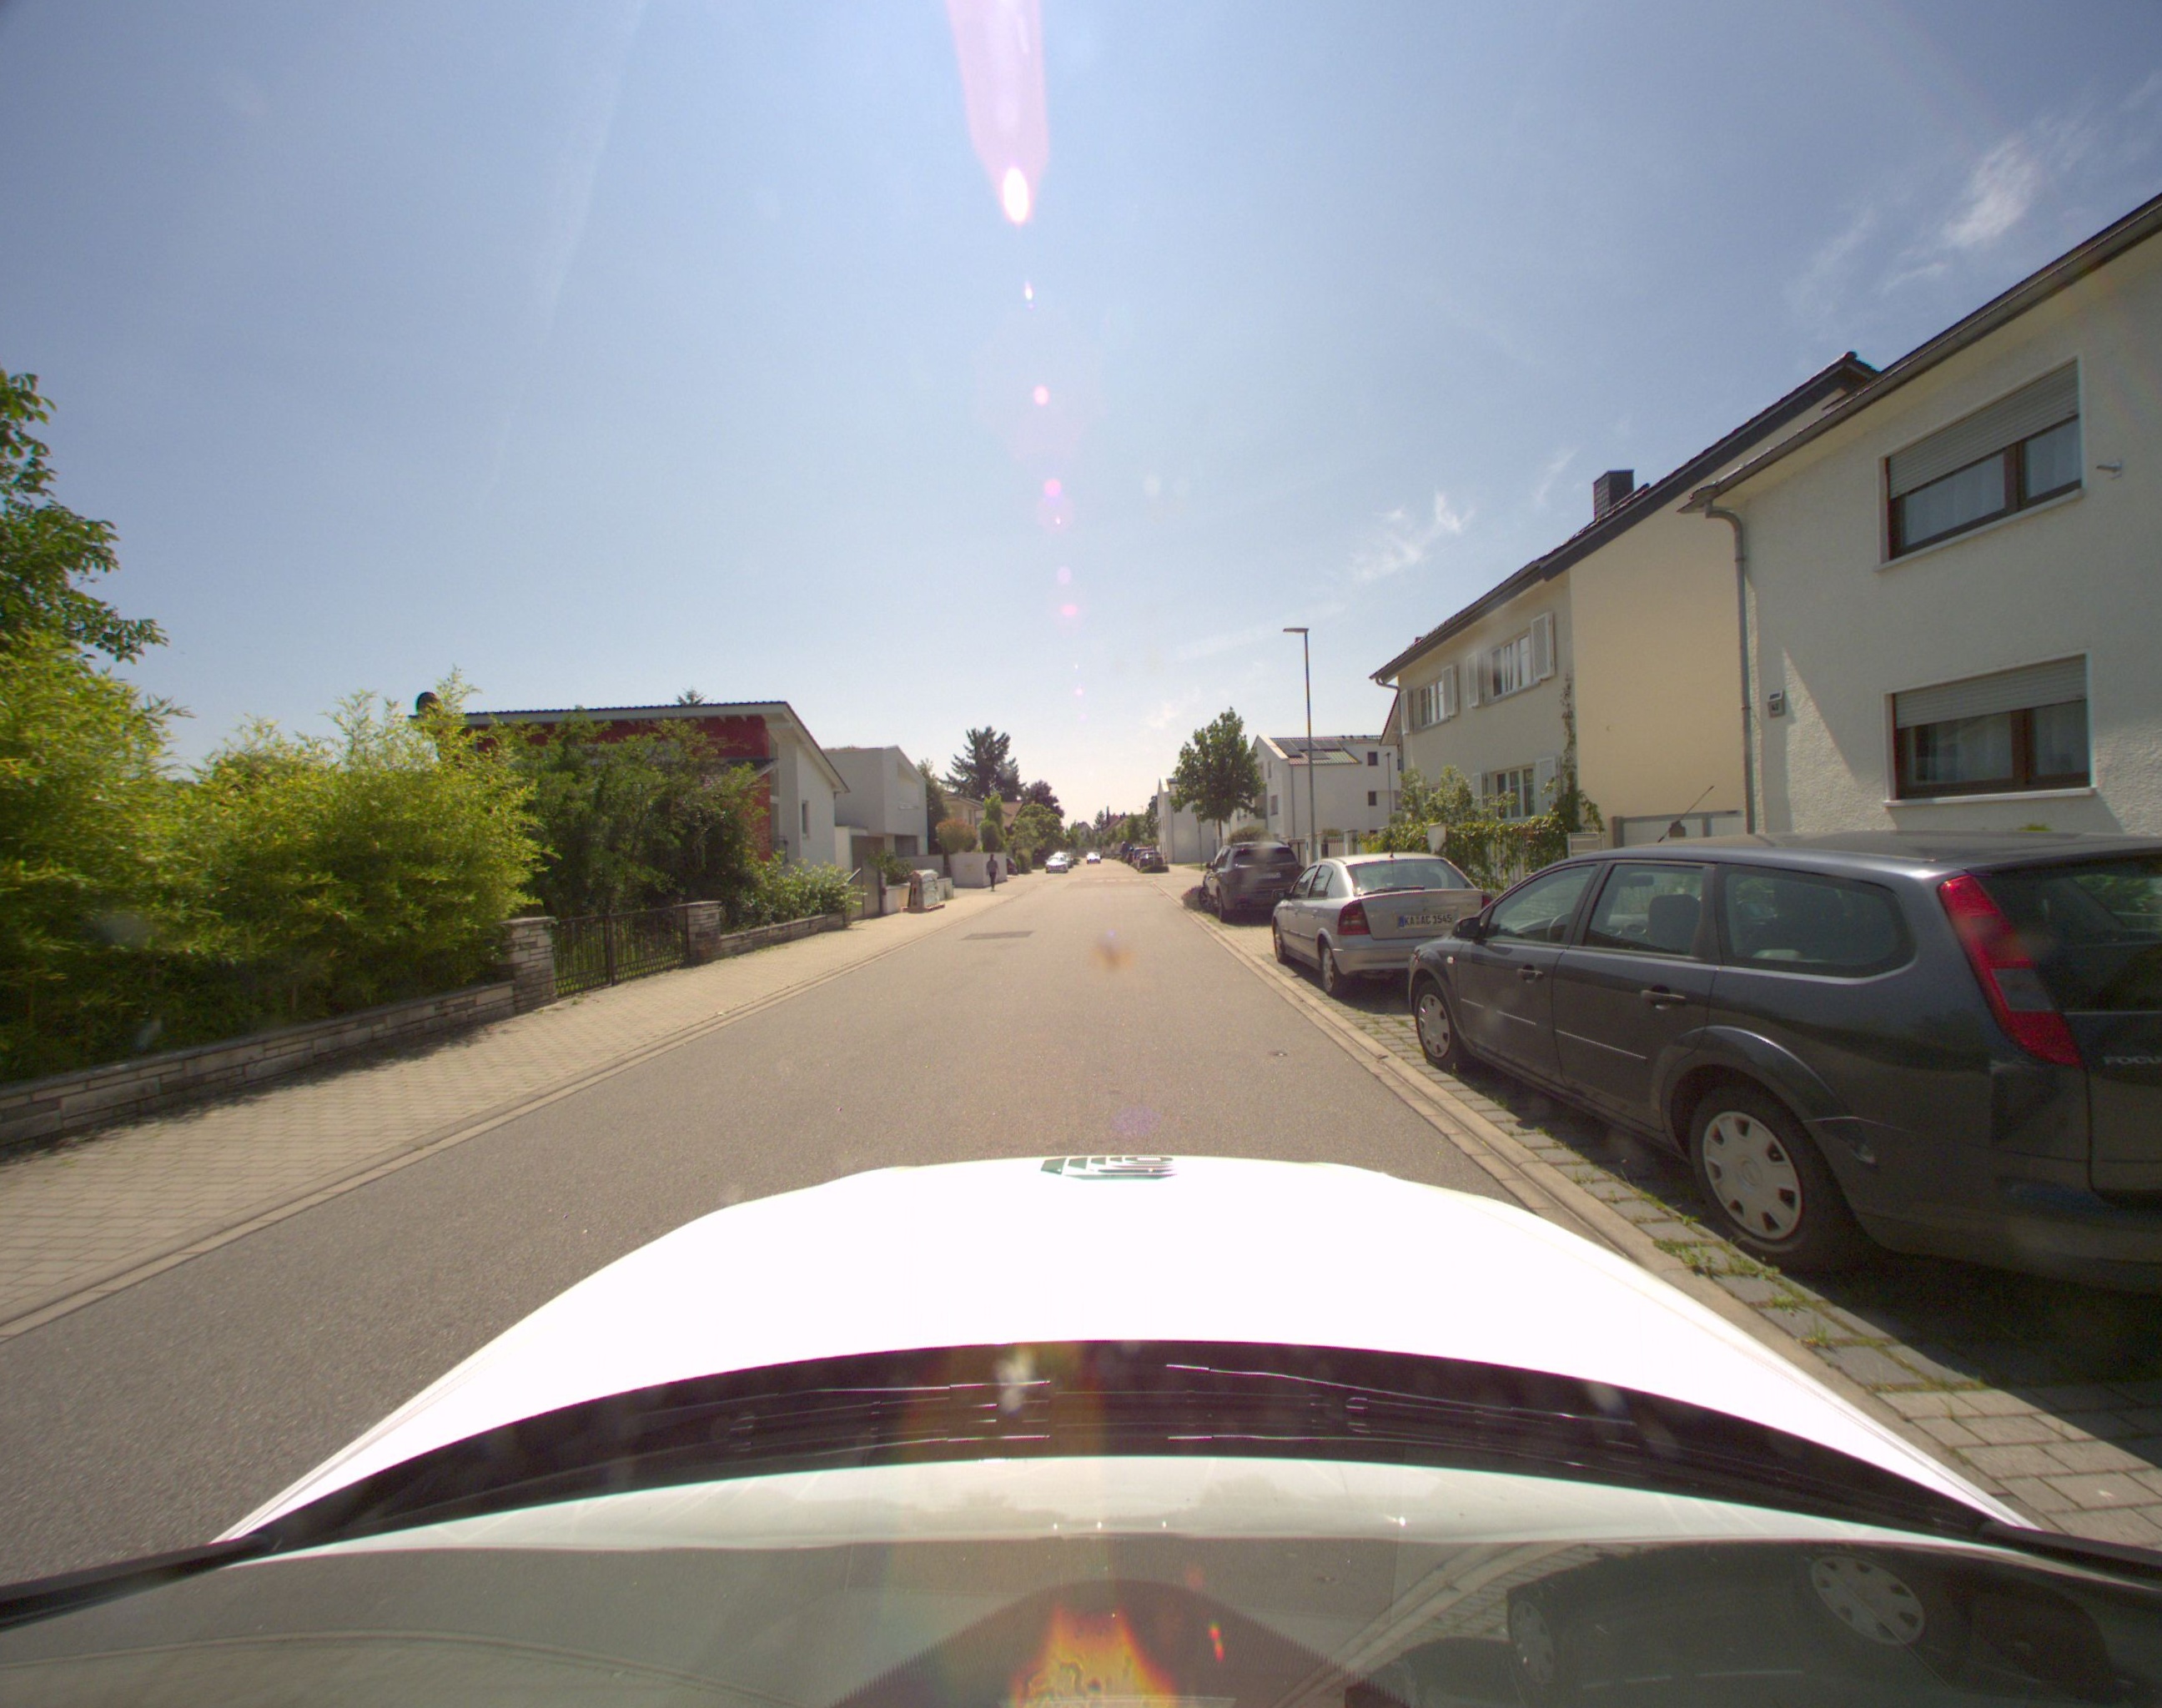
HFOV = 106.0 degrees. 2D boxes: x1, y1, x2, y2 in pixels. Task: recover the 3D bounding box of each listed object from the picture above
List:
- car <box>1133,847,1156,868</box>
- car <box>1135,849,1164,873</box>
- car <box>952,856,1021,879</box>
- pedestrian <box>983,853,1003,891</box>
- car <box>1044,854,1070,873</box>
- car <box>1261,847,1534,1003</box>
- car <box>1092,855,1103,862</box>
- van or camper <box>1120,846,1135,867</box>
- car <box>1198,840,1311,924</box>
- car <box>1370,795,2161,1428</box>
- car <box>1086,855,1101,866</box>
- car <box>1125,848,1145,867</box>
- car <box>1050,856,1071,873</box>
[{"bbox_3d":[6.122,0.345,79.024,2.091,1.882,4.846,-2,0,3],"label":"car"},{"bbox_3d":[5.217,0.518,62.331,1.768,1.595,4.278,-4,0,0],"label":"car"},{"bbox_3d":[-6.590,0.919,56.946,4.407,1.473,1.853,1,0,5],"label":"car"},{"bbox_3d":[-4.154,0.862,38.493,0.711,1.747,0.961,-2,0,2],"label":"pedestrian"},{"bbox_3d":[-2.068,0.820,71.140,1.845,1.488,4.387,-2,0,2],"label":"car"},{"bbox_3d":[3.450,0.668,9.779,1.807,1.420,4.096,-2,0,3],"label":"car"},{"bbox_3d":[3.463,0.872,169.236,1.985,1.430,4.004,-2,0,3],"label":"car"},{"bbox_3d":[6.696,0.323,118.395,1.986,2.941,4.001,-2,0,2],"label":"van or camper"},{"bbox_3d":[3.866,0.550,18.898,1.807,1.656,4.568,-2,0,3],"label":"car"},{"bbox_3d":[3.176,0.606,4.230,1.736,1.533,4.448,-2,0,0],"label":"car"},{"bbox_3d":[1.808,0.929,114.318,1.845,1.478,4.704,-2,0,4],"label":"car"},{"bbox_3d":[6.171,0.379,93.458,1.986,1.947,5.217,-3,0,2],"label":"car"},{"bbox_3d":[-2.168,1.045,86.114,1.920,1.687,4.500,-2,0,2],"label":"car"}]
